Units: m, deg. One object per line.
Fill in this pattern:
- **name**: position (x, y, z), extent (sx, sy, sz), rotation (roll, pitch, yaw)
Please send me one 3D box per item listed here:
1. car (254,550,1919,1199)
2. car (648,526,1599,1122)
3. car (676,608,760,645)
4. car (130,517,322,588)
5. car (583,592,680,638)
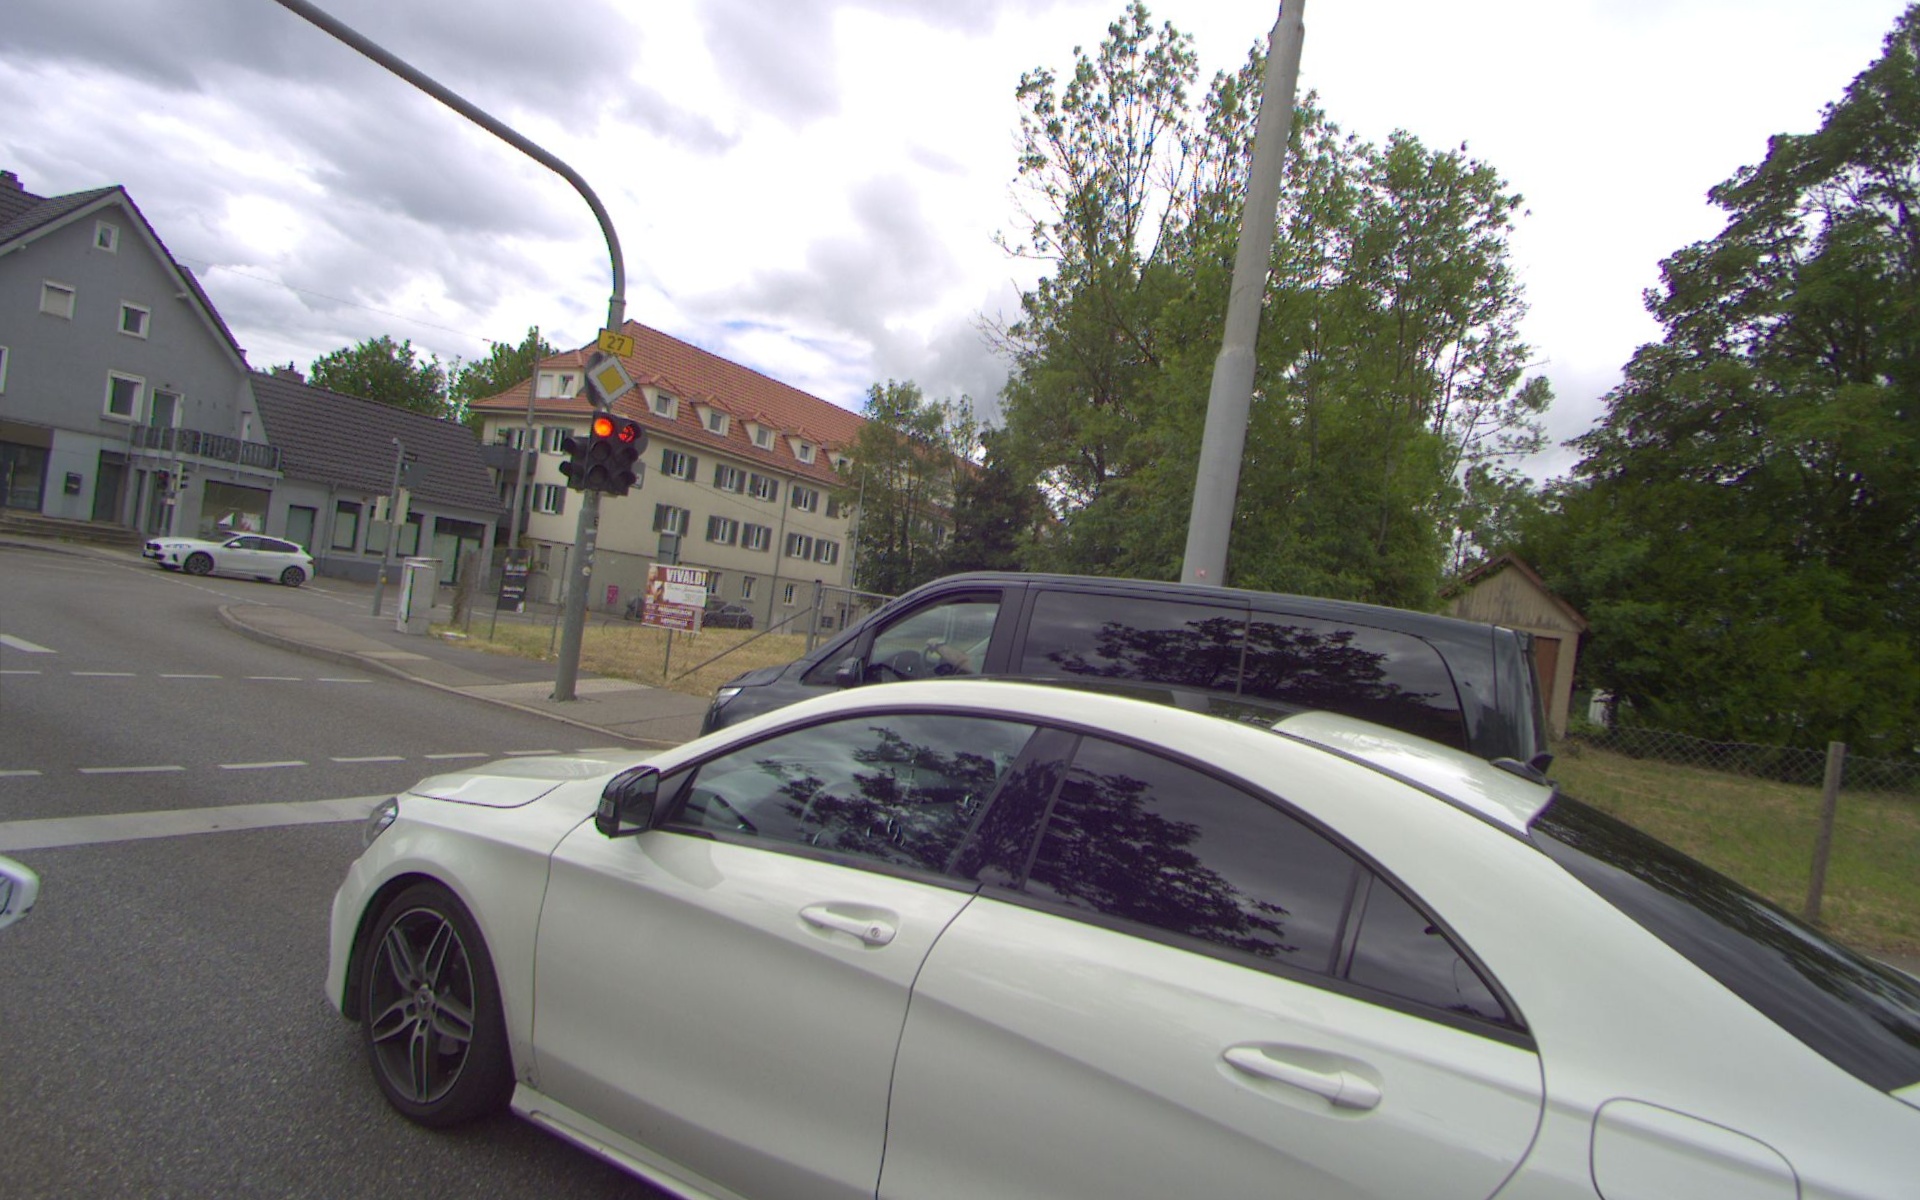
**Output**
- **car**: position (0.155, 0.845, 2.642), extent (4.305, 1.451, 1.651), rotation (7, 0, 32)
- **car**: position (0.706, 0.814, 5.649), extent (4.631, 1.860, 1.953), rotation (7, -2, 32)
- **car**: position (-12.626, 1.400, 52.652), extent (1.839, 1.393, 3.996), rotation (7, -2, 32)
- **car**: position (-22.521, -1.413, 31.068), extent (1.965, 1.494, 4.255), rotation (7, -2, 26)
- **car**: position (-15.522, 0.737, 47.663), extent (1.839, 1.554, 3.996), rotation (7, -2, 32)
